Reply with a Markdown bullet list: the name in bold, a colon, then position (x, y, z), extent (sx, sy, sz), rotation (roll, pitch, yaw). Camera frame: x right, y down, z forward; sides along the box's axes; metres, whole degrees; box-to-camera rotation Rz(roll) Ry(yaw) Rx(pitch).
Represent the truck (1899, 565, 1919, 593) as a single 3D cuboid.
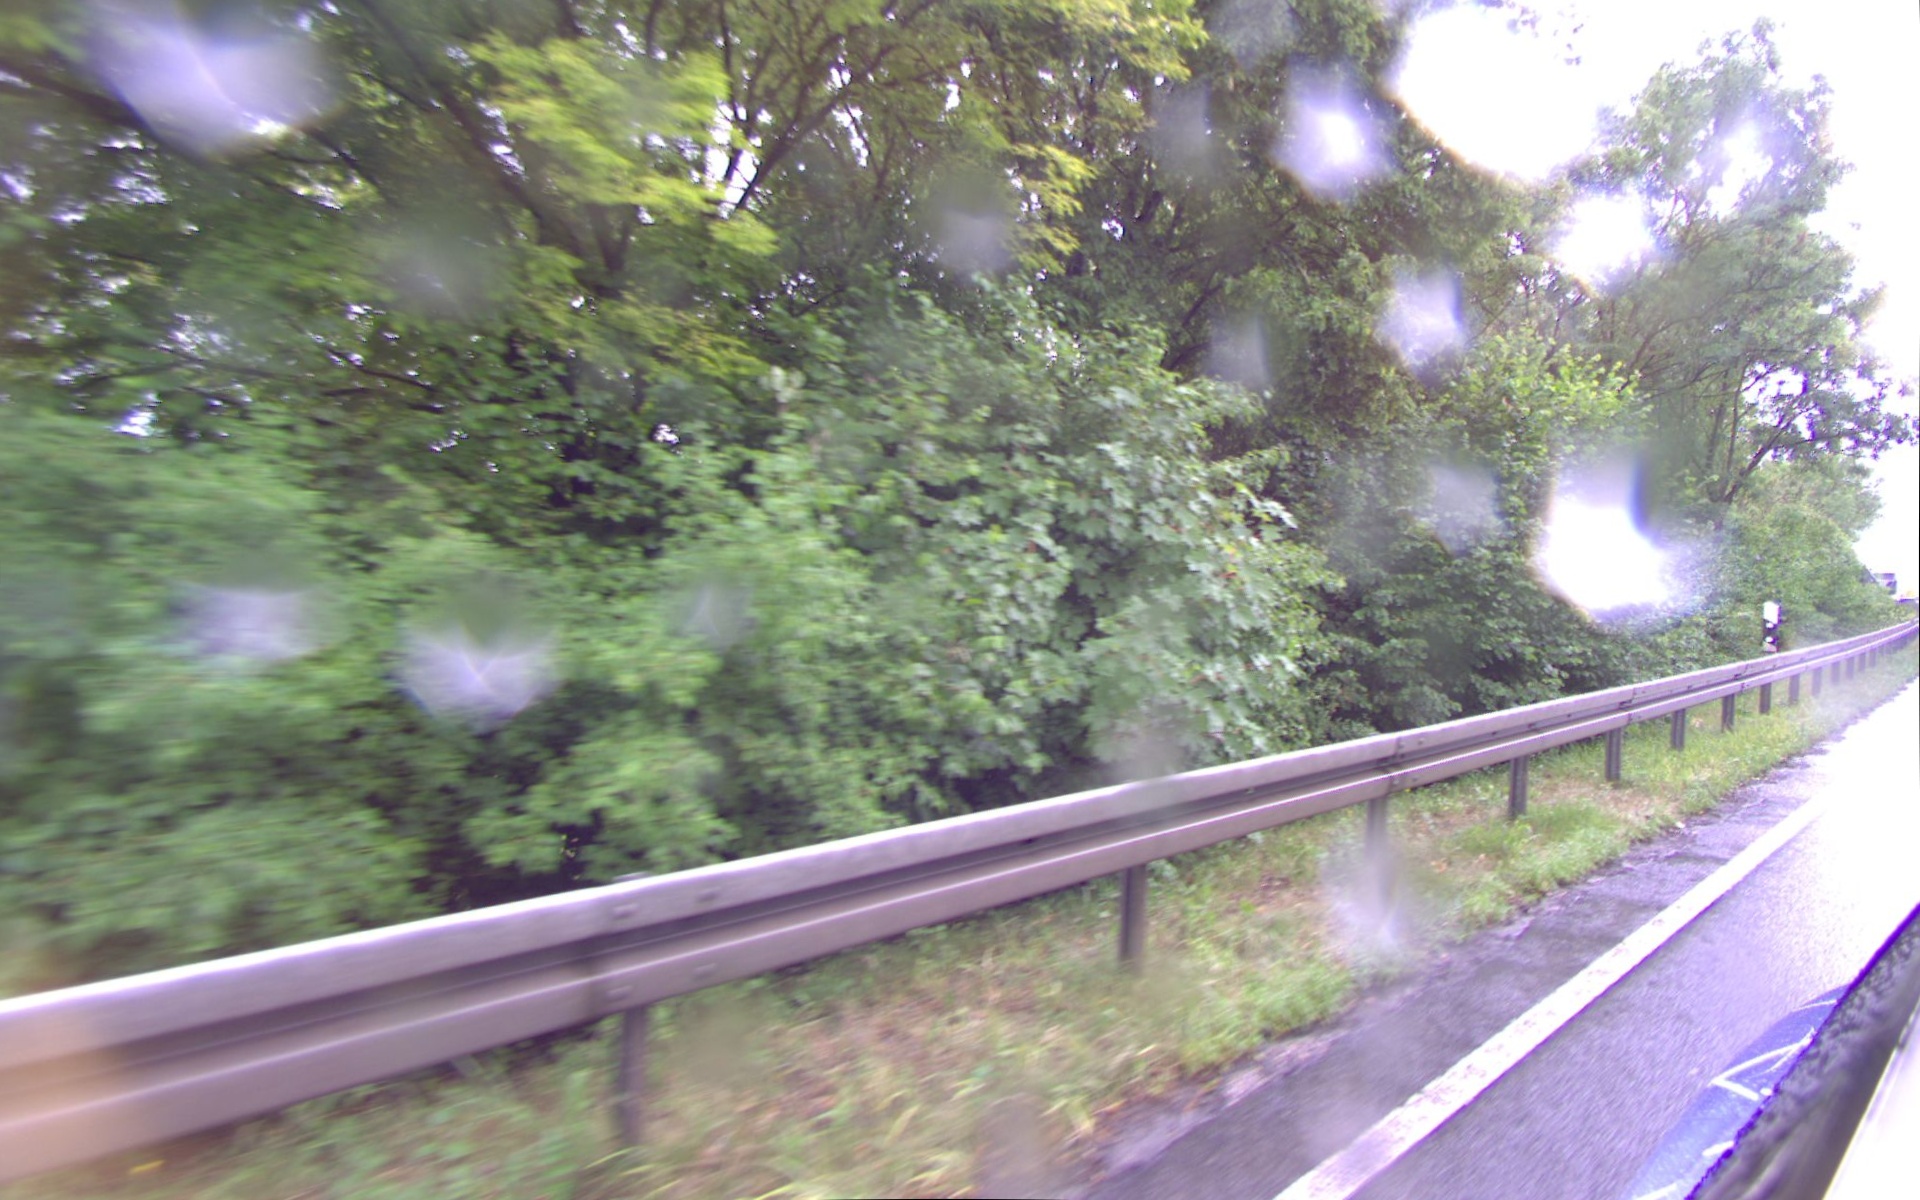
- **truck**: position (139.751, -3.060, 148.116), extent (2.467, 4.131, 7.474), rotation (0, 0, 36)
